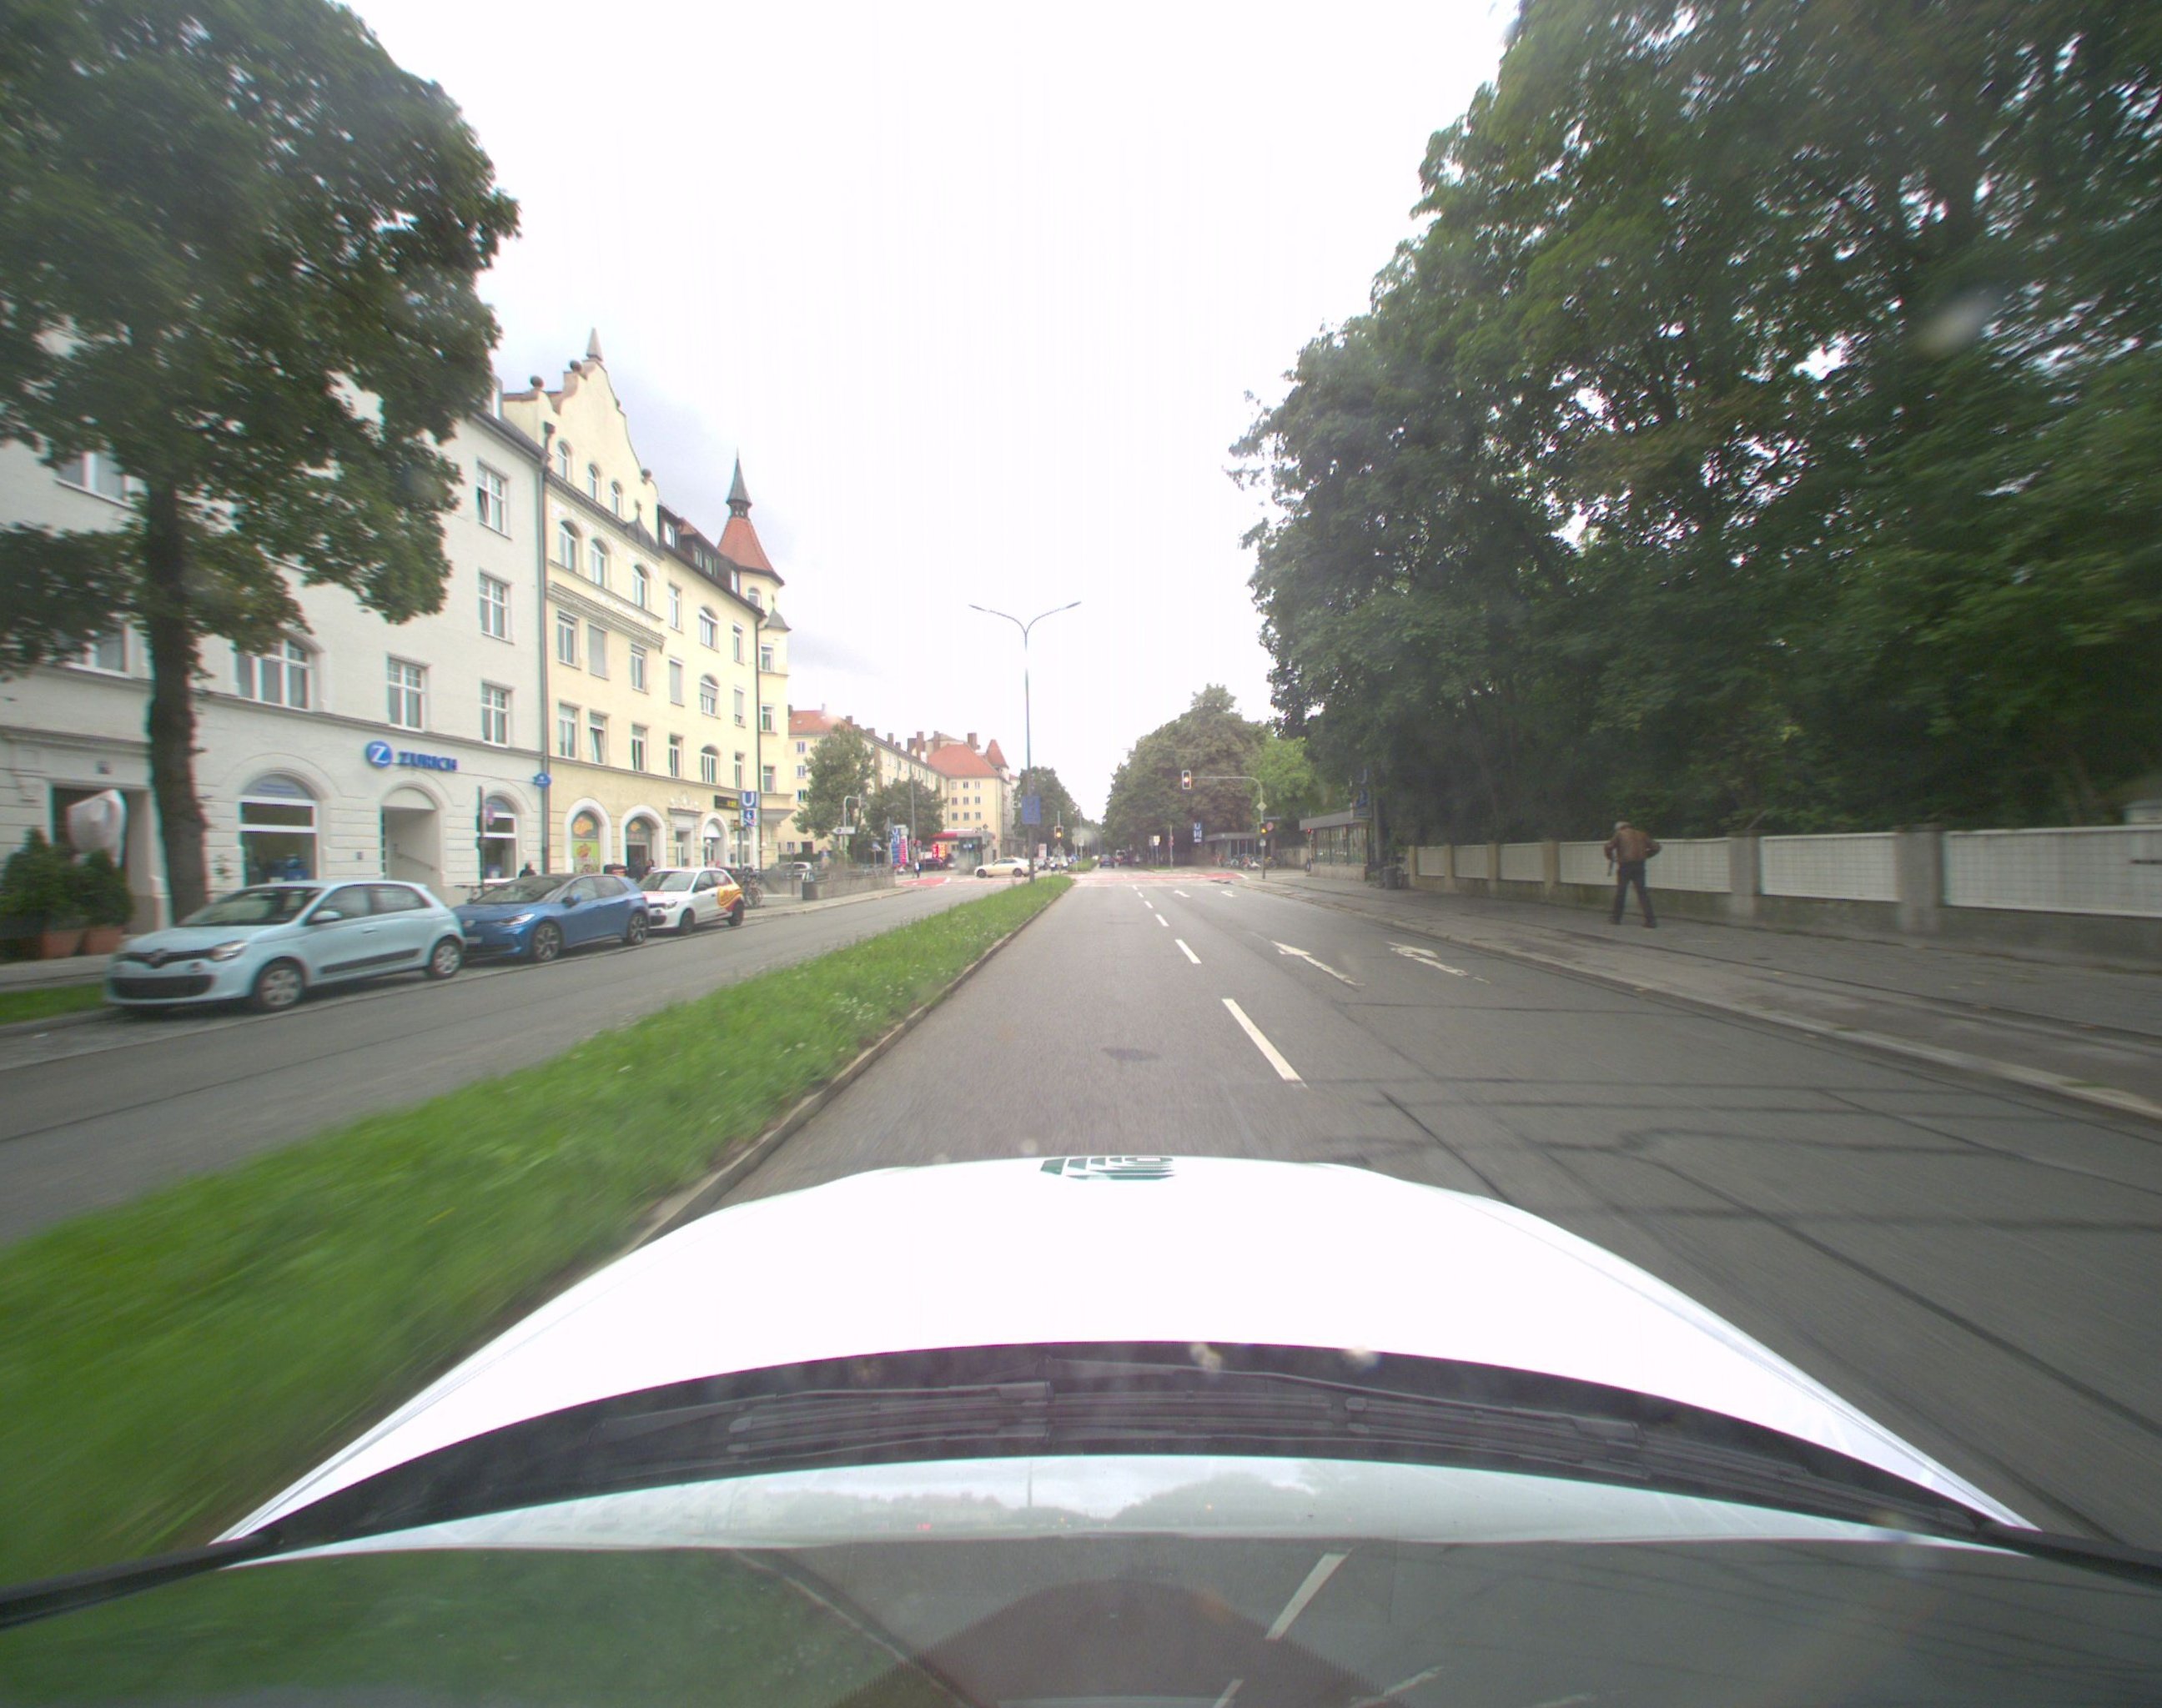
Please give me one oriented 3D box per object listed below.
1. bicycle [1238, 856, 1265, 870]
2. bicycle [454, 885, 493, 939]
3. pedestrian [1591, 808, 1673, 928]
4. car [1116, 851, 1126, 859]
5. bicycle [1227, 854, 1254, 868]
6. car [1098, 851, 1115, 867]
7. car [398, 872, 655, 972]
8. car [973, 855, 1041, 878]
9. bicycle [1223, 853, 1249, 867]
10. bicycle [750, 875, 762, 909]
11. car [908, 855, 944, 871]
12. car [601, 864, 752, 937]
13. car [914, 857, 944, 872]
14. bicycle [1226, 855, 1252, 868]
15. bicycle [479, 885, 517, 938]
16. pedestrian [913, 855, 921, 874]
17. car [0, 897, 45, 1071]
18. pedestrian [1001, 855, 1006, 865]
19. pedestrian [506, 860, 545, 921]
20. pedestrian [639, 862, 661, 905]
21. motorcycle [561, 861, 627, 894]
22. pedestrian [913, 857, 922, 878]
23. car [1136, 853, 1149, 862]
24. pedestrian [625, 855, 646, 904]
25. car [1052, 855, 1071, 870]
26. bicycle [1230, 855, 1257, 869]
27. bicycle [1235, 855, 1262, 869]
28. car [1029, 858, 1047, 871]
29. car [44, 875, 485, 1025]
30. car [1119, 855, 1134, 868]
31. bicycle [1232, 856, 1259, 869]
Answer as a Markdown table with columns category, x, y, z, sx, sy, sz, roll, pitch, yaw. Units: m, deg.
| category | x | y | z | sx | sy | sz | roll | pitch | yaw |
| --- | --- | --- | --- | --- | --- | --- | --- | --- | --- |
| bicycle | 13.739 | 0.702 | 65.598 | 2.130 | 1.071 | 0.604 | -1 | 0 | 9 |
| bicycle | -13.965 | 1.312 | 18.759 | 0.460 | 1.115 | 1.947 | -1 | 0 | -30 |
| pedestrian | 9.265 | 0.228 | 13.724 | 0.774 | 1.942 | 0.803 | -3 | 0 | 2 |
| car | 8.187 | 0.199 | 166.458 | 1.986 | 1.756 | 4.001 | -2 | 0 | 1 |
| bicycle | 13.395 | 0.597 | 68.446 | 2.130 | 1.178 | 0.604 | -1 | 0 | 9 |
| car | 2.920 | 0.574 | 94.316 | 1.850 | 1.684 | 4.001 | -1 | 0 | 2 |
| car | -10.181 | 1.160 | 15.448 | 1.804 | 1.507 | 4.293 | -1 | 0 | 2 |
| car | -5.556 | 0.941 | 61.304 | 4.728 | 1.647 | 1.793 | -1 | 0 | 17 |
| bicycle | 13.470 | 0.526 | 70.749 | 2.130 | 1.218 | 0.604 | -1 | 0 | 9 |
| bicycle | -11.148 | 1.281 | 27.960 | 0.330 | 1.115 | 1.669 | -1 | 0 | -21 |
| car | -18.977 | 1.046 | 99.945 | 3.975 | 1.838 | 1.880 | -1 | 0 | -1 |
| car | -9.881 | 1.070 | 20.229 | 1.642 | 1.585 | 3.794 | -1 | 0 | 4 |
| car | -21.995 | 1.539 | 117.746 | 3.977 | 2.013 | 1.889 | -1 | 0 | -3 |
| bicycle | 13.390 | 0.661 | 69.148 | 2.130 | 1.062 | 0.604 | -1 | 0 | 9 |
| bicycle | -13.795 | 1.335 | 19.292 | 0.506 | 1.115 | 1.970 | -1 | 0 | -30 |
| pedestrian | -15.113 | 0.974 | 75.096 | 0.593 | 1.695 | 0.572 | -1 | 0 | -29 |
| car | -10.439 | 1.163 | 5.115 | 1.804 | 1.507 | 4.647 | -1 | 0 | 2 |
| pedestrian | -13.378 | 0.993 | 141.121 | 0.693 | 1.638 | 0.738 | -1 | 0 | 2 |
| pedestrian | -16.000 | 1.038 | 23.473 | 0.541 | 1.697 | 0.770 | -1 | 0 | 0 |
| pedestrian | -16.822 | 1.142 | 31.787 | 0.420 | 1.631 | 0.783 | -1 | 0 | -1 |
| motorcycle | -17.840 | 0.851 | 29.876 | 0.602 | 1.130 | 1.999 | -2 | -1 | 42 |
| pedestrian | -13.516 | 1.113 | 67.274 | 0.531 | 1.695 | 0.579 | -1 | 0 | 10 |
| car | 9.566 | 0.559 | 127.029 | 1.736 | 1.363 | 3.808 | -2 | 0 | 2 |
| pedestrian | -15.812 | 0.897 | 28.919 | 0.594 | 1.697 | 0.937 | -1 | 0 | -26 |
| car | -2.060 | 0.919 | 86.740 | 1.753 | 1.493 | 4.001 | -2 | 0 | 2 |
| bicycle | 13.502 | 0.639 | 67.705 | 2.130 | 1.086 | 0.604 | -1 | 0 | 9 |
| bicycle | 13.623 | 0.659 | 66.256 | 2.130 | 1.101 | 0.604 | -1 | 0 | 9 |
| car | -5.051 | 1.197 | 96.640 | 1.753 | 1.460 | 4.001 | -2 | 0 | 2 |
| car | -10.406 | 1.101 | 10.910 | 1.804 | 1.507 | 3.962 | -1 | 0 | 2 |
| car | 6.208 | 1.013 | 110.951 | 1.915 | 1.684 | 4.002 | 0 | -1 | 2 |
| bicycle | 13.518 | 0.671 | 66.974 | 2.130 | 1.014 | 0.604 | -1 | 0 | 9 |
